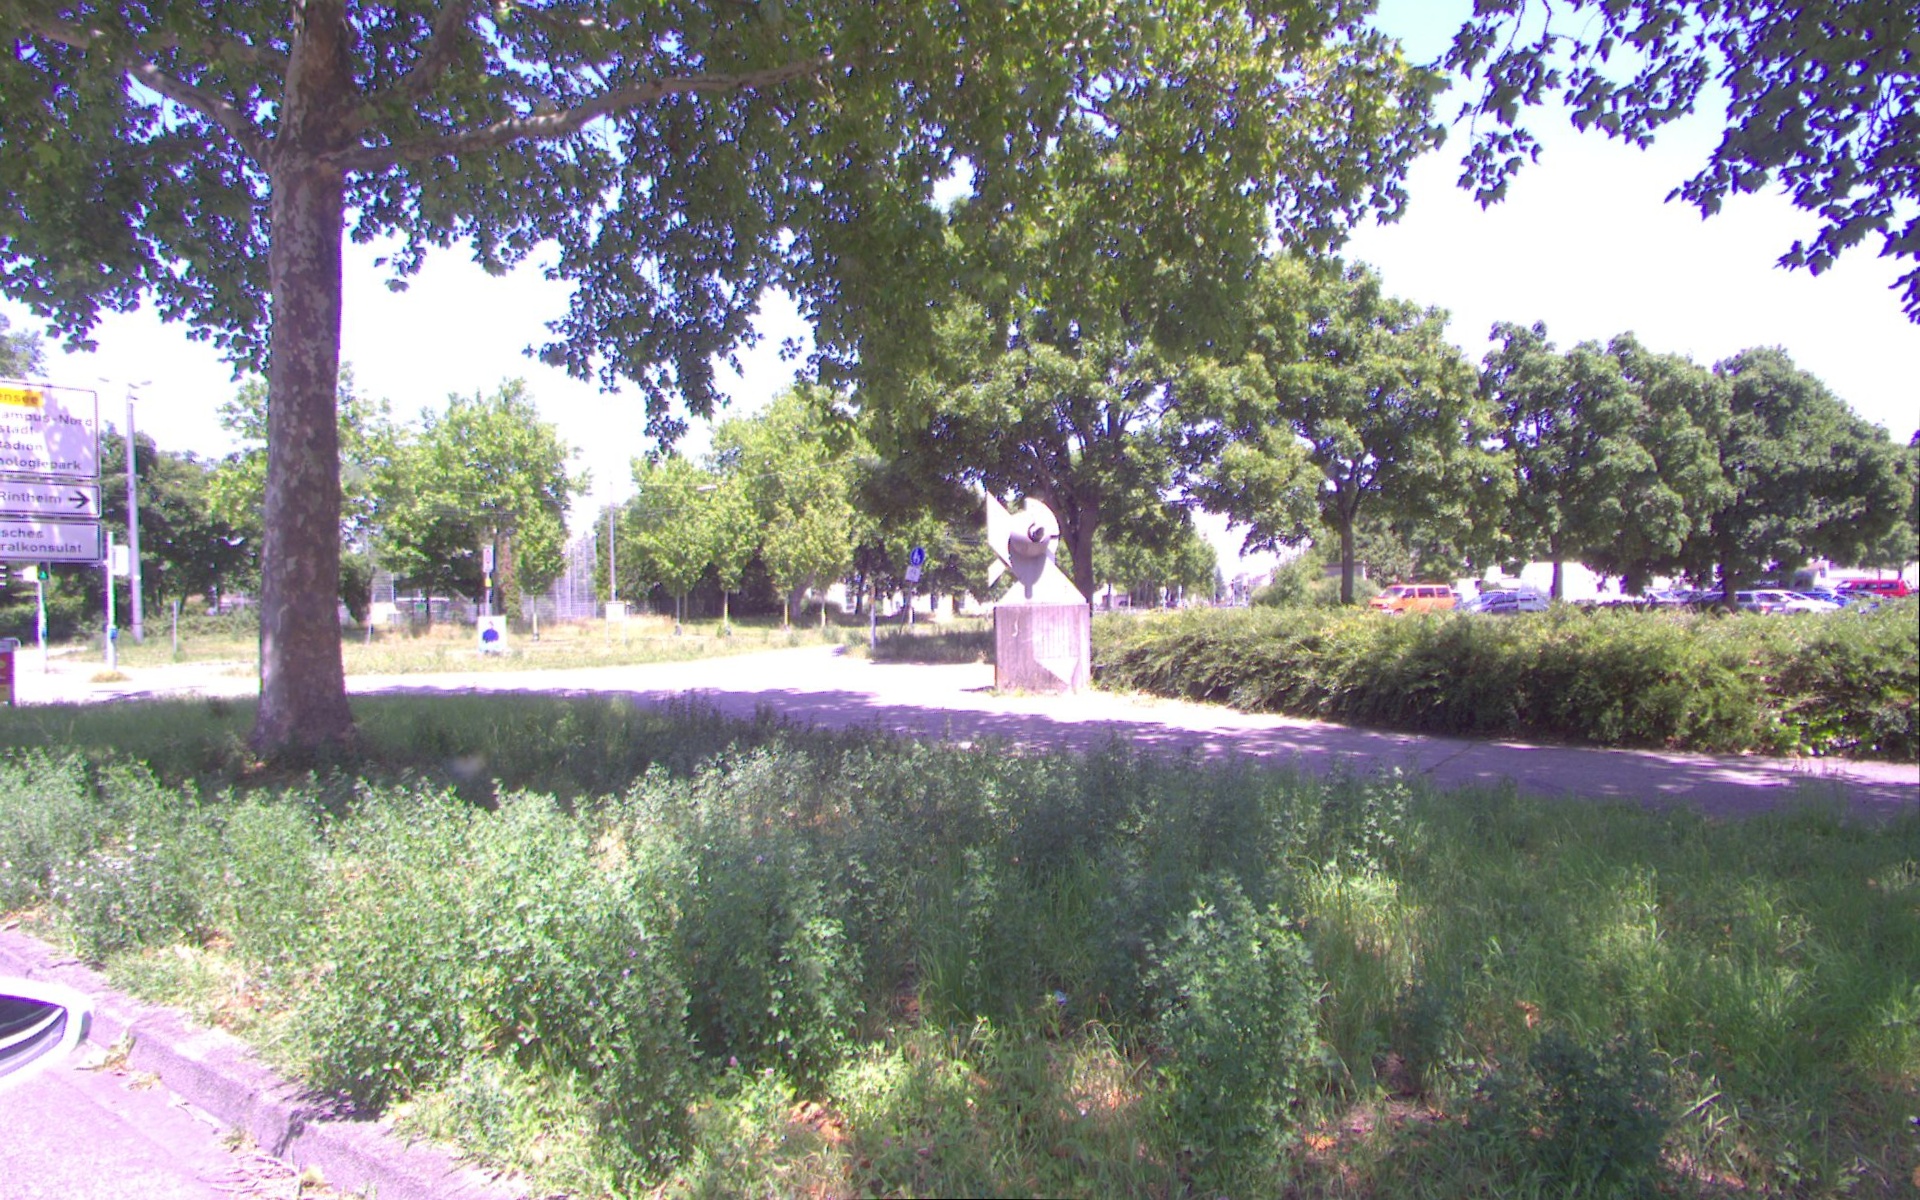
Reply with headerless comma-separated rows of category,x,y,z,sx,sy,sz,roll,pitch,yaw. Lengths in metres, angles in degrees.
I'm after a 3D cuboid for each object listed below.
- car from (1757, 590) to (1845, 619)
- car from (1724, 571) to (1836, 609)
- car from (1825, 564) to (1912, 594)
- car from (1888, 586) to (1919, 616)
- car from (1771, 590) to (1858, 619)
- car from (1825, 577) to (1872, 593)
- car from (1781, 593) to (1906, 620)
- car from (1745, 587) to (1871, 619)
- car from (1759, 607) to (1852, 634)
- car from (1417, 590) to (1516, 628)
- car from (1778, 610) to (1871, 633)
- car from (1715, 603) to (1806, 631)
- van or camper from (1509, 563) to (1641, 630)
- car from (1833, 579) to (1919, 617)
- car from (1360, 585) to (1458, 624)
car,34.366,0.173,40.985,0.991,1.141,2.590,-1,0,-25
car,46.410,-0.550,56.796,2.209,2.040,4.409,-1,0,-22
car,103.930,-2.345,114.640,3.155,3.224,7.143,-1,0,-41
car,44.650,0.021,45.409,1.690,1.384,3.414,-1,0,-25
car,35.329,0.192,41.443,0.938,1.141,2.590,-1,0,-25
car,92.677,-1.551,104.497,3.309,1.639,1.439,-1,0,19
car,36.716,0.293,41.702,1.655,1.048,3.553,-1,0,-25
car,34.368,0.118,40.674,1.595,1.242,3.559,0,1,-25
car,32.396,0.776,38.418,0.938,1.000,2.590,-1,0,-25
car,23.929,0.409,47.322,4.000,1.741,1.952,-1,0,-18
car,33.590,0.820,38.960,0.938,0.852,2.590,-1,0,-25
car,30.791,0.644,38.576,0.938,1.050,2.590,-1,0,-25
van or camper,27.005,-0.163,43.990,5.039,2.787,2.199,-1,0,-18
car,57.299,-0.097,62.334,1.936,2.037,3.991,2,-5,-23
car,23.844,0.225,53.231,4.582,2.029,2.069,0,0,-19
